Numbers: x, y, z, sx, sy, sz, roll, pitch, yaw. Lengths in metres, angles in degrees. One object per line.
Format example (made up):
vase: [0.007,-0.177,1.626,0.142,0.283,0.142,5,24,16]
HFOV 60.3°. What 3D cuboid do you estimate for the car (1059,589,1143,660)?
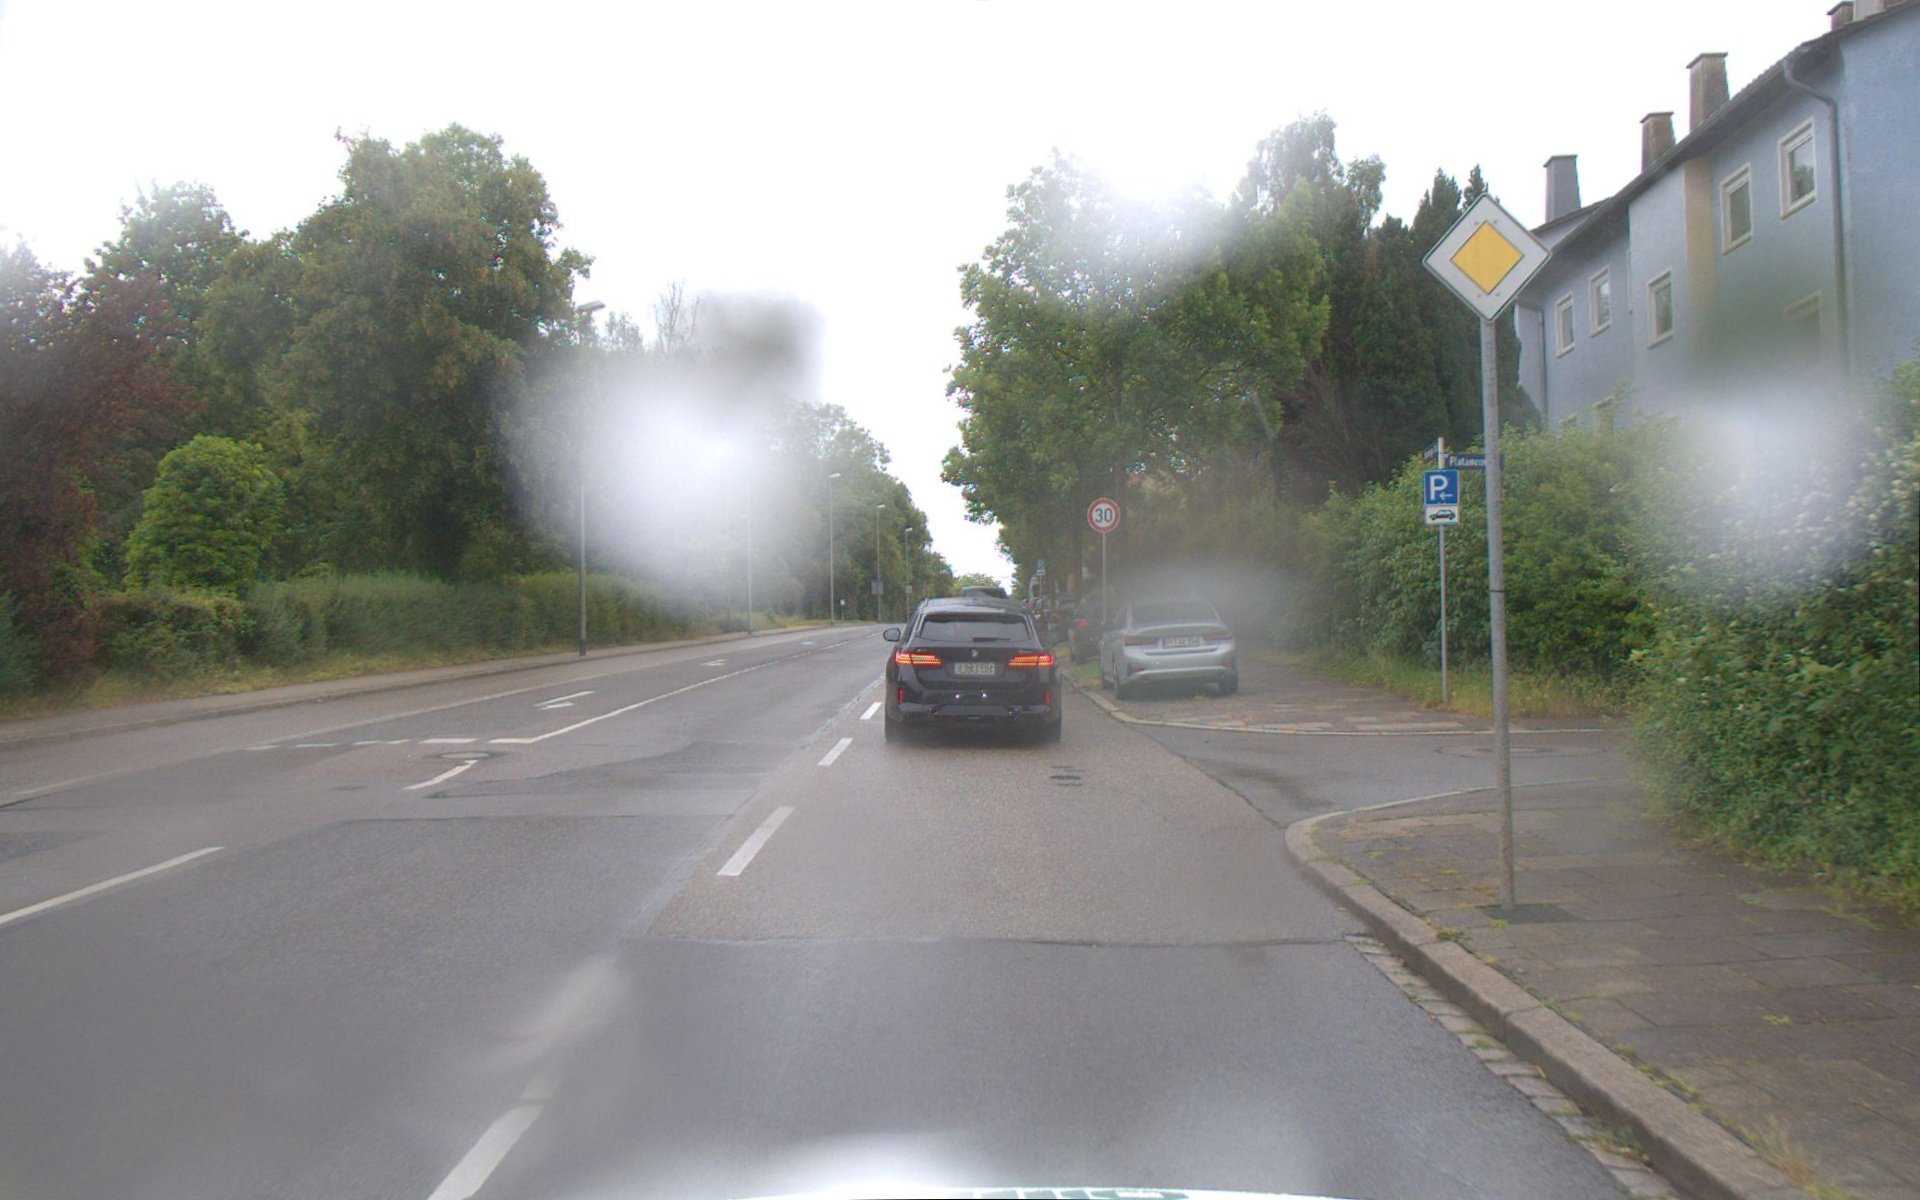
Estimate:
car: [3.158,0.515,37.459,1.557,1.486,3.562,-1,0,0]

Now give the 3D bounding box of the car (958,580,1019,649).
car: [0.791,0.391,47.959,1.596,1.865,3.999,-1,1,-1]

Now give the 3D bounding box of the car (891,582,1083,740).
car: [0.265,0.590,18.305,1.858,1.515,4.000,1,0,0]

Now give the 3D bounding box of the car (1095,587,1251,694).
car: [3.157,0.544,25.342,1.895,1.467,4.409,-1,0,1]

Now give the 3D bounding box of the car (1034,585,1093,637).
car: [3.178,0.308,51.143,1.557,1.512,3.562,-1,0,0]

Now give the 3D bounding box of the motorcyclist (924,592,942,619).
motorcyclist: [-1.611,0.323,97.124,1.018,1.595,0.855,1,0,-2]
